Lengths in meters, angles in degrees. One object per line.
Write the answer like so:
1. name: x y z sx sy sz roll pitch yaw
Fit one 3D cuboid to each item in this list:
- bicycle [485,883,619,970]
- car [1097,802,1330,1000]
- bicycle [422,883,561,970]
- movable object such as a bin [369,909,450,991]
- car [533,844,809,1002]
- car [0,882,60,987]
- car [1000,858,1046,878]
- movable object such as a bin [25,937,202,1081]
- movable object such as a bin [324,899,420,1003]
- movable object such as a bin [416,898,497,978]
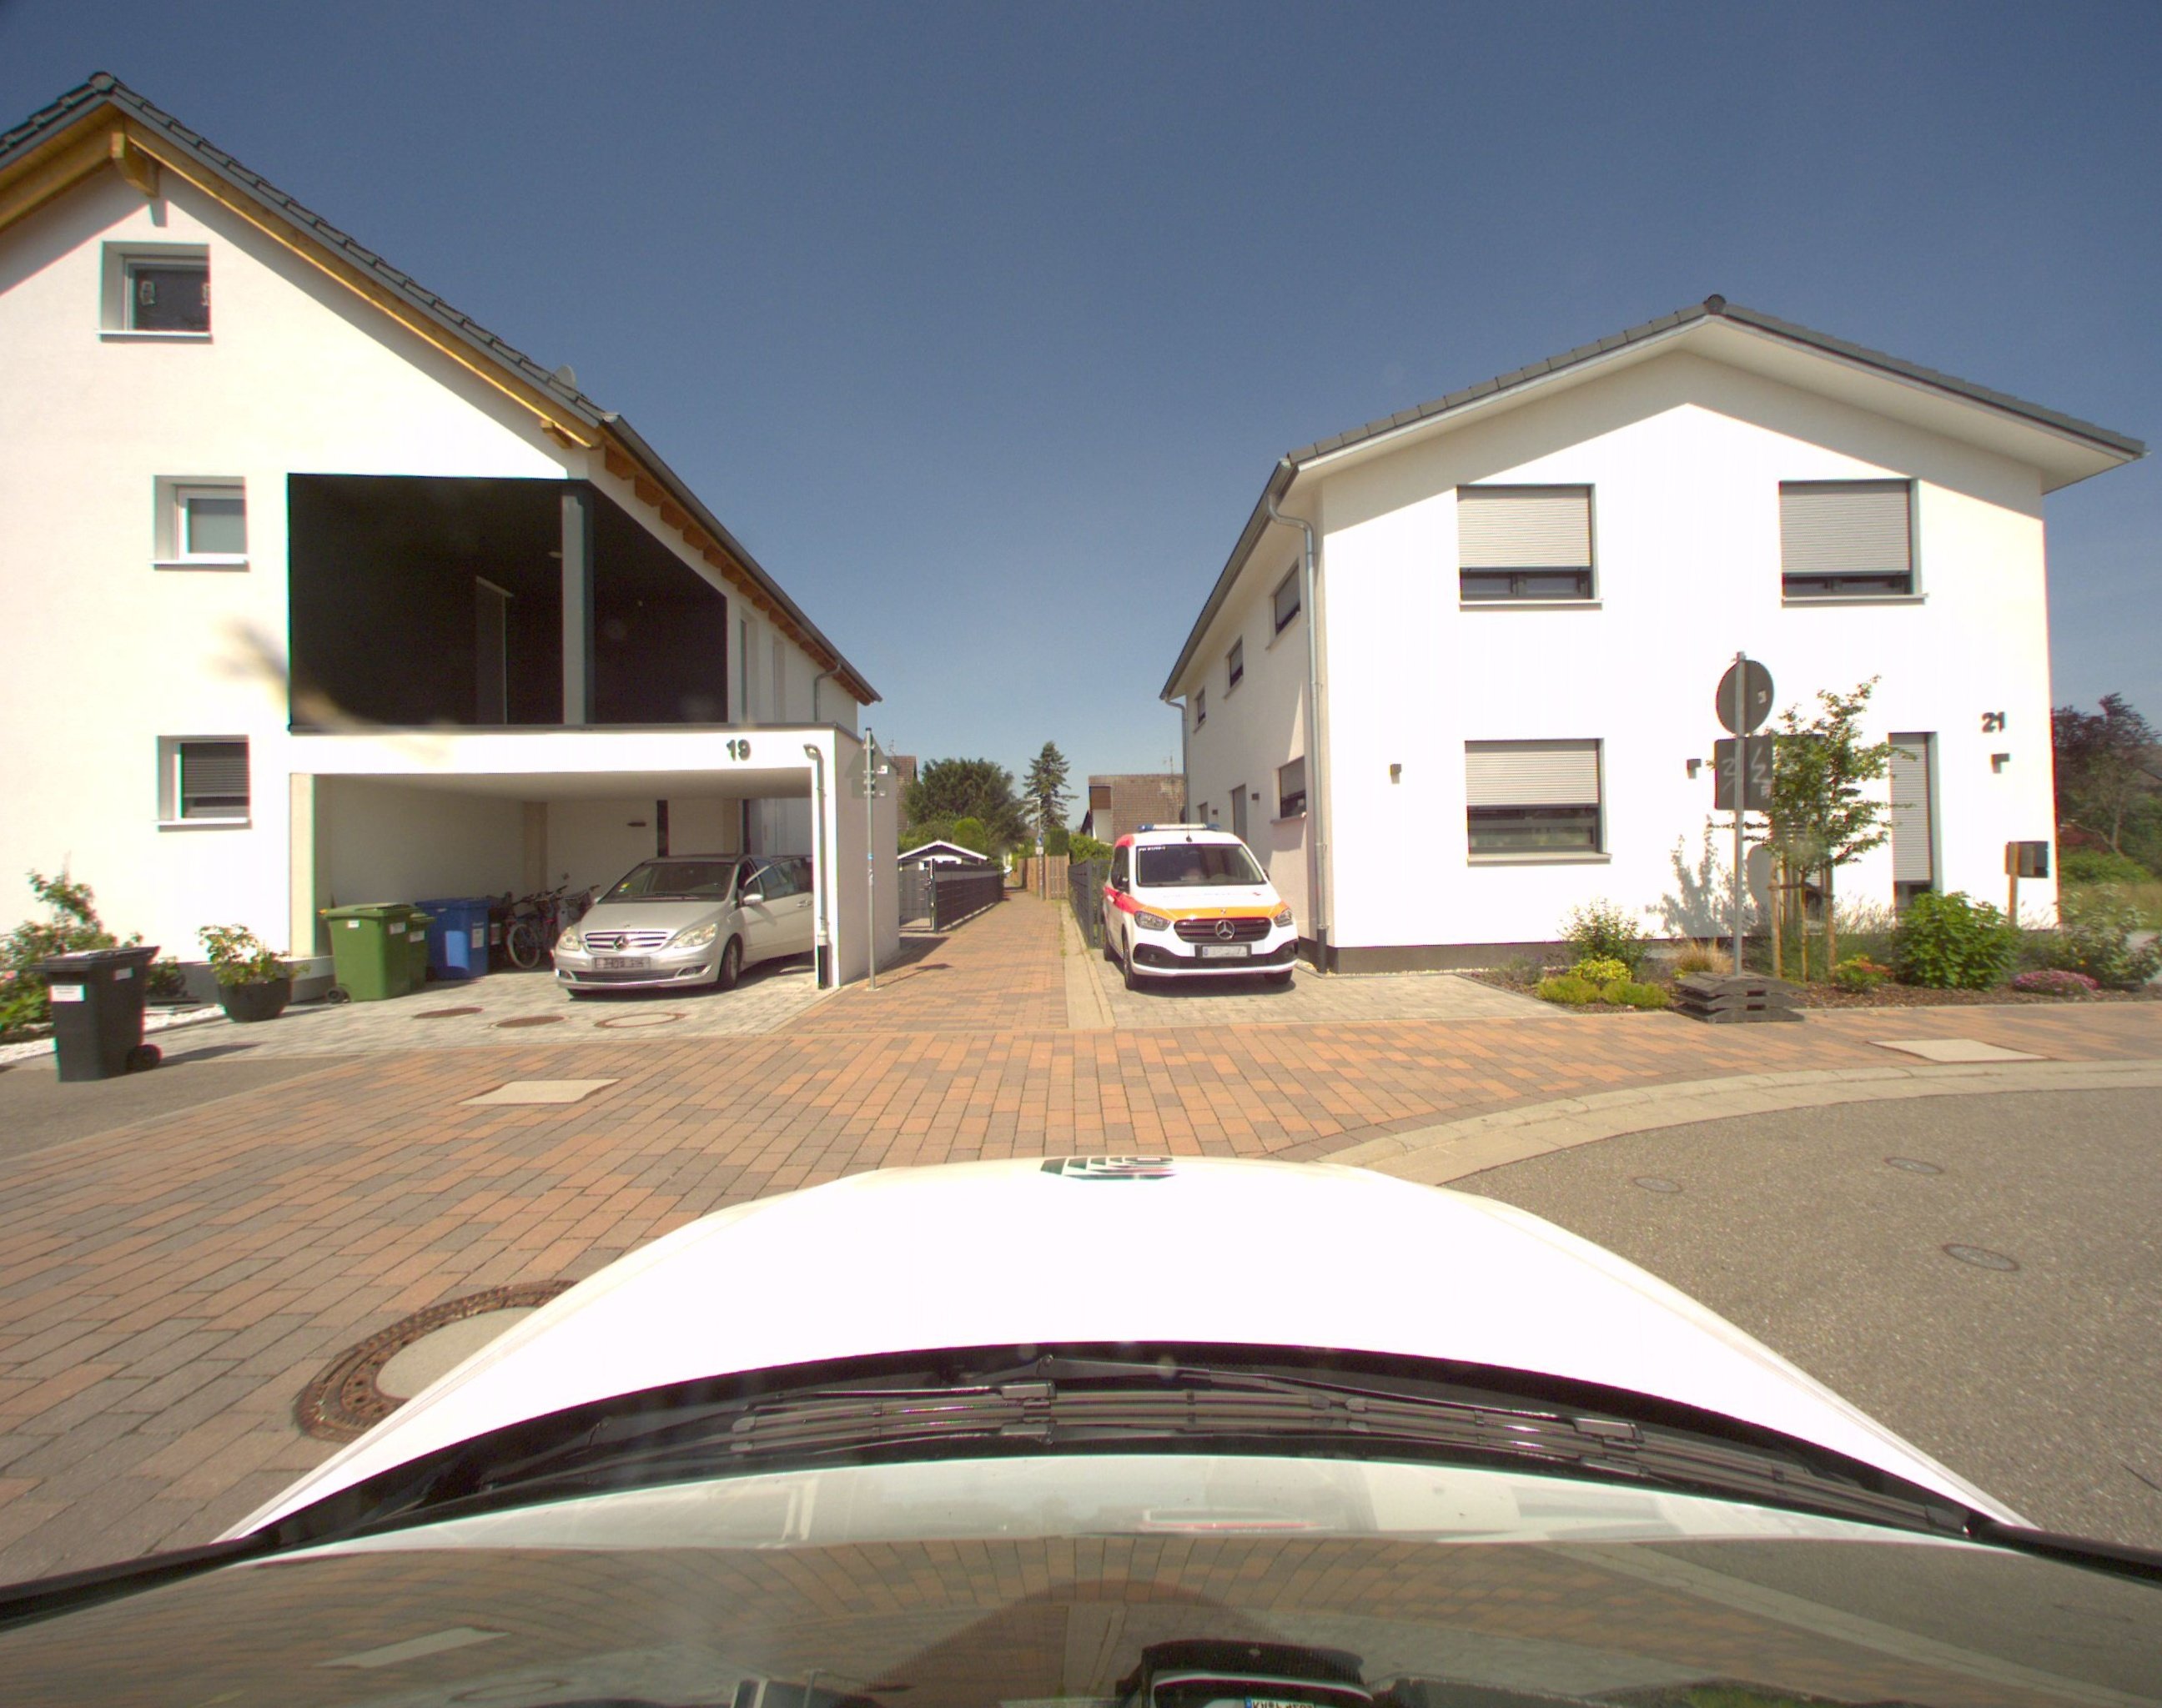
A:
1. bicycle: -7.875 1.027 12.256 0.727 1.127 2.130 0 -1 -4
2. car: 1.339 0.485 10.291 1.928 1.875 4.746 -1 -1 -3
3. bicycle: -8.760 1.031 12.228 0.776 1.127 2.127 0 -1 -8
4. movable object such as a bin: -8.094 1.145 9.830 0.558 0.905 0.499 0 1 -5
5. car: -4.890 0.739 10.434 1.737 1.562 4.157 -1 -1 -6
6. car: -15.289 1.100 9.505 1.746 1.380 4.056 -1 0 -4
7. car: -5.320 1.312 75.155 4.138 1.717 1.903 -1 -1 -4
8. movable object such as a bin: -7.247 1.136 6.129 0.562 0.936 0.617 -2 0 -5
9. movable object such as a bin: -8.047 1.083 9.263 0.599 1.092 0.499 -3 0 -5
10. movable object such as a bin: -8.233 1.097 10.757 0.674 0.987 0.499 0 -1 -5
